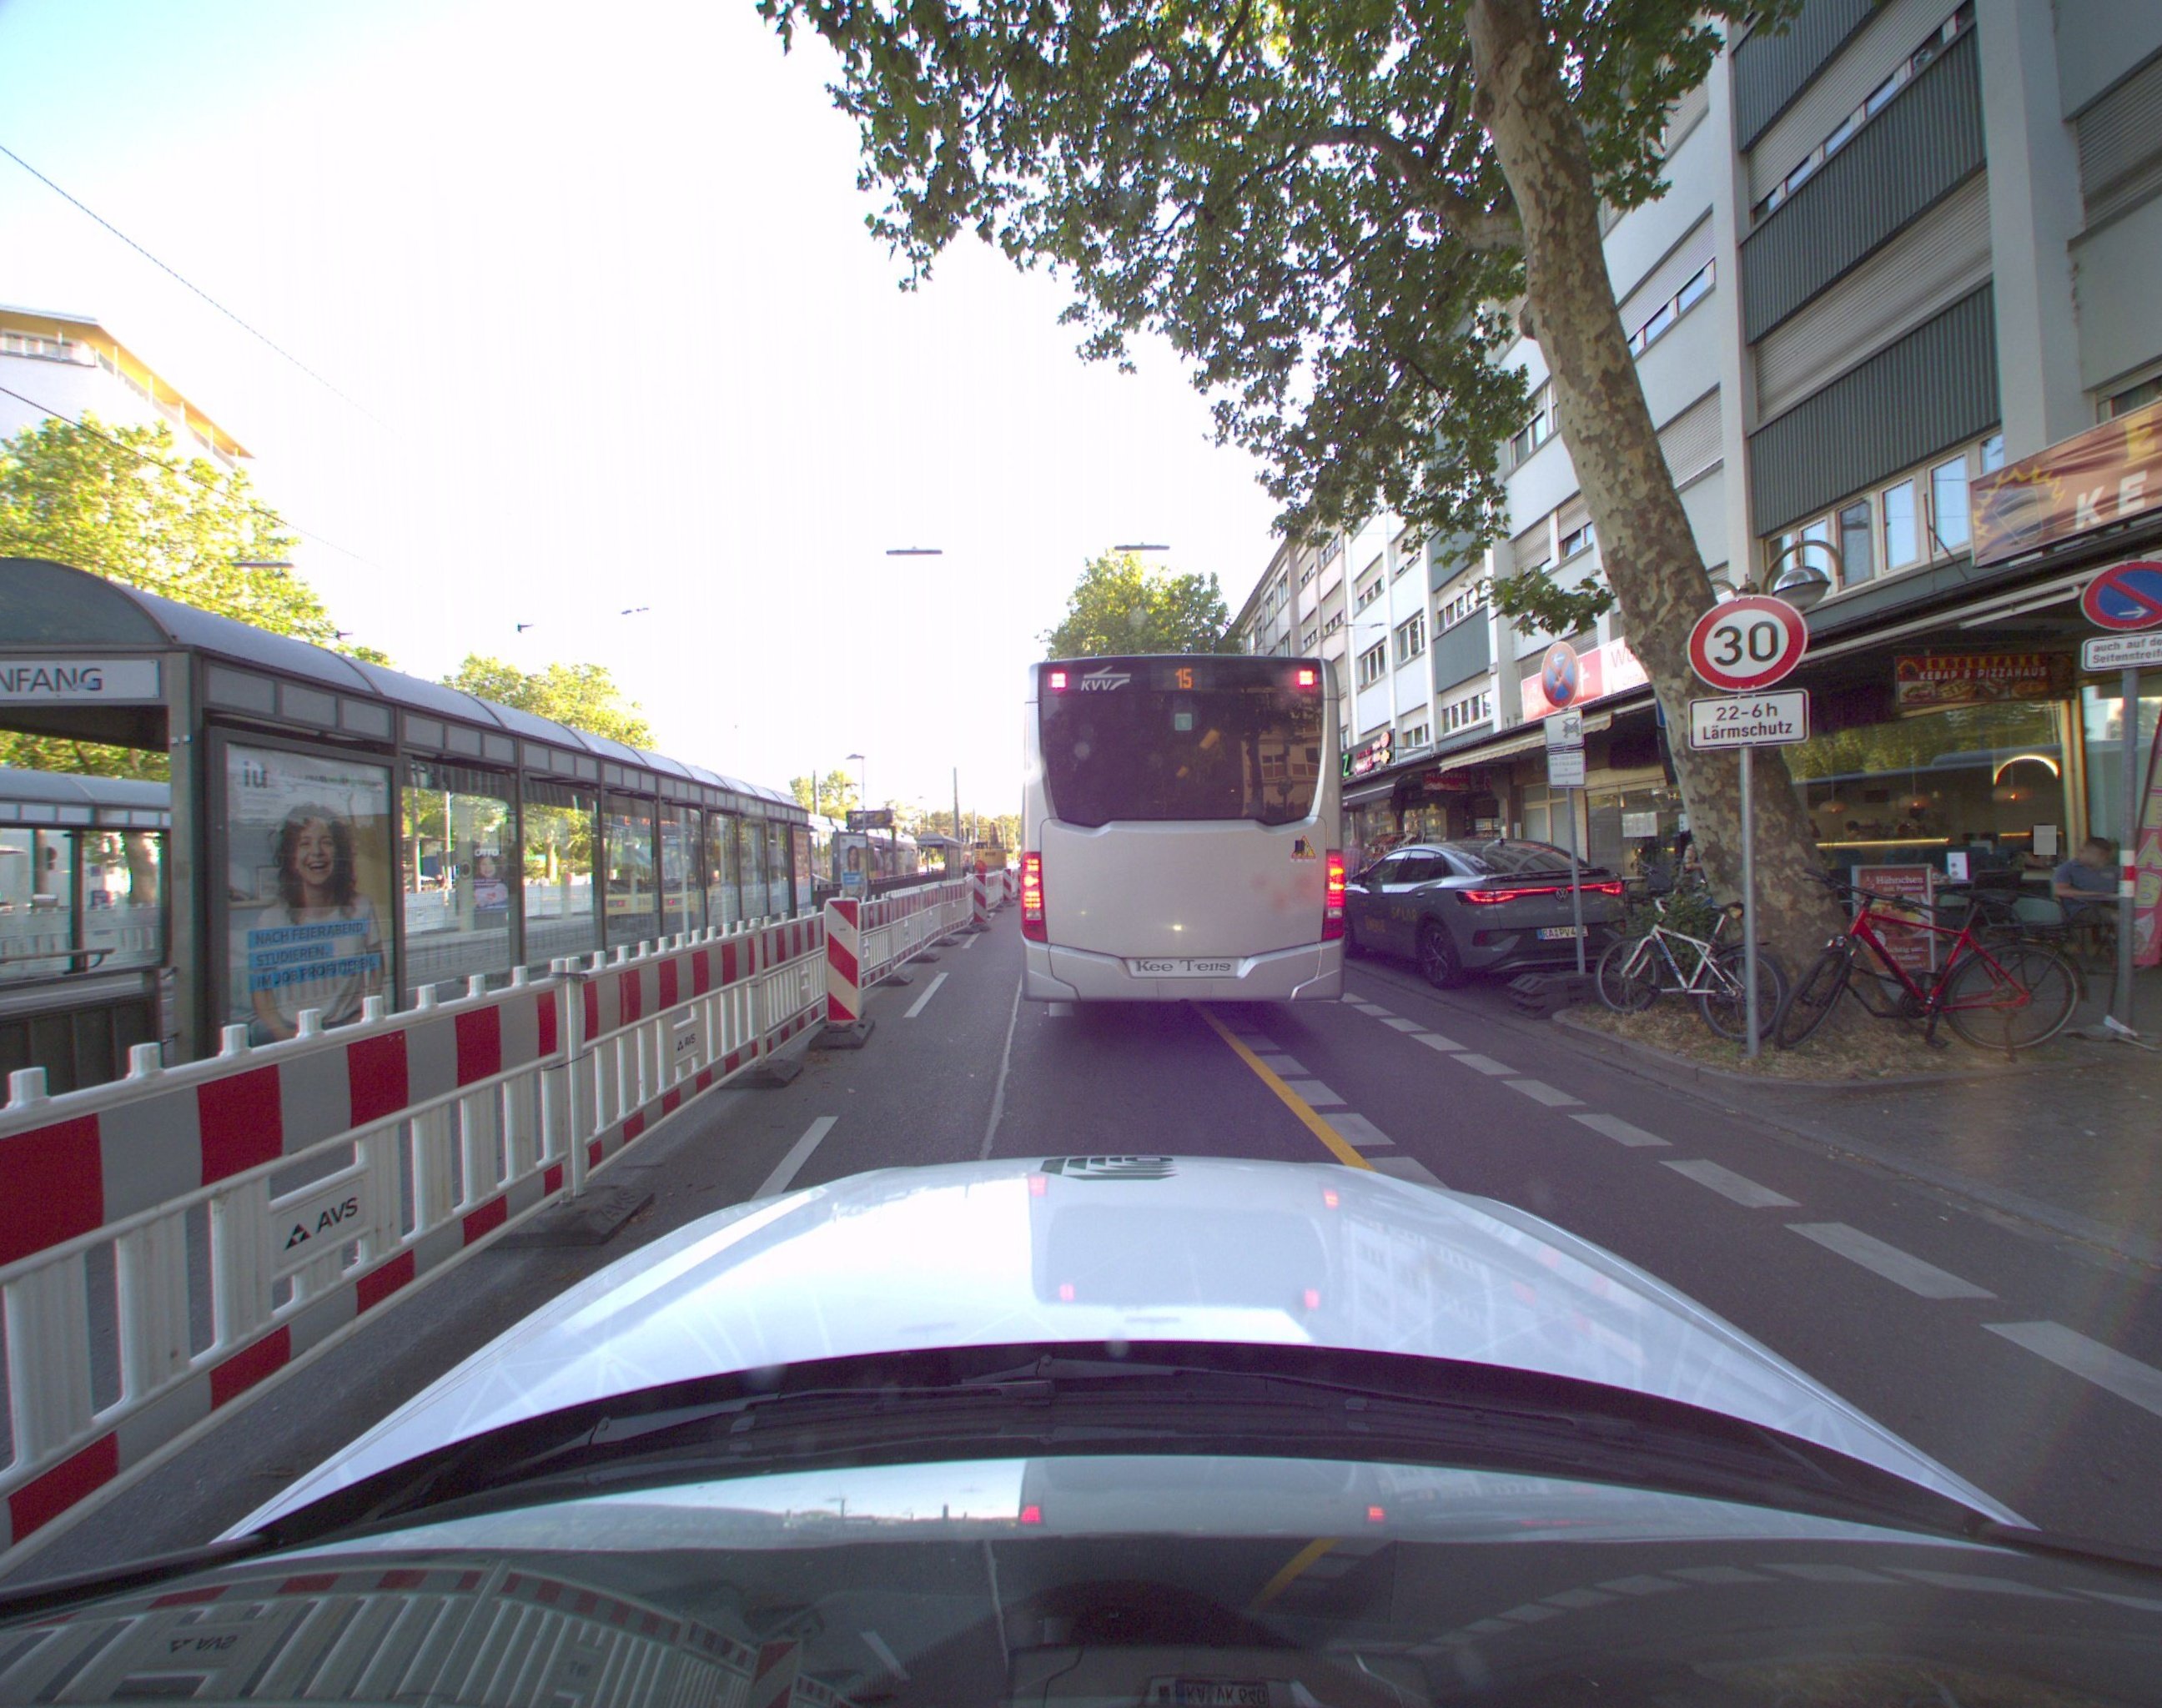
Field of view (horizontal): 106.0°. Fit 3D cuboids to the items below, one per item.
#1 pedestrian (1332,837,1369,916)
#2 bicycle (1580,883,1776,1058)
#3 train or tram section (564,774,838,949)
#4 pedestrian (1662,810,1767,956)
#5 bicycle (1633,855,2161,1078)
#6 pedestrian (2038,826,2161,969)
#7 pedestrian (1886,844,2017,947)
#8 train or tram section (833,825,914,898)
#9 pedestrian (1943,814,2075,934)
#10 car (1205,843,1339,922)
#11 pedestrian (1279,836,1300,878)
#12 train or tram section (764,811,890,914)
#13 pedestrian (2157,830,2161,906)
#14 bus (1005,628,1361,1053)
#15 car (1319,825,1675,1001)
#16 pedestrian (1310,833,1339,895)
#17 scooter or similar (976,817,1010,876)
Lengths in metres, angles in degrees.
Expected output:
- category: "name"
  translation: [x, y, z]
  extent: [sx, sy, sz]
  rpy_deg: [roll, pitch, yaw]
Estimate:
- category: "pedestrian"
  translation: [5.949, 0.493, 17.984]
  extent: [0.658, 1.666, 0.603]
  rpy_deg: [-4, -1, 18]
- category: "bicycle"
  translation: [4.574, 0.835, 6.361]
  extent: [0.550, 1.155, 1.446]
  rpy_deg: [-2, -1, 6]
- category: "train or tram section"
  translation: [-9.487, 0.192, 22.485]
  extent: [2.681, 3.534, 11.756]
  rpy_deg: [0, -1, -3]
- category: "pedestrian"
  translation: [7.482, 0.329, 9.656]
  extent: [0.580, 1.646, 0.796]
  rpy_deg: [-2, 0, 0]
- category: "bicycle"
  translation: [5.059, 0.721, 5.220]
  extent: [2.370, 1.155, 0.557]
  rpy_deg: [-7, -2, 14]
- category: "pedestrian"
  translation: [9.621, 0.382, 7.579]
  extent: [0.555, 1.245, 0.692]
  rpy_deg: [-4, 0, 8]
- category: "pedestrian"
  translation: [9.857, 0.450, 9.235]
  extent: [0.643, 1.081, 0.945]
  rpy_deg: [-2, -1, -39]
- category: "train or tram section"
  translation: [-11.338, 0.411, 45.609]
  extent: [2.683, 3.533, 11.558]
  rpy_deg: [0, -1, -6]
- category: "pedestrian"
  translation: [11.001, 0.227, 9.663]
  extent: [0.836, 1.333, 0.963]
  rpy_deg: [-2, -1, -39]
- category: "car"
  translation: [4.496, 0.615, 19.910]
  extent: [1.989, 1.582, 4.364]
  rpy_deg: [-4, 0, -3]
- category: "pedestrian"
  translation: [9.417, 0.124, 36.820]
  extent: [0.684, 1.836, 0.785]
  rpy_deg: [-2, -1, -1]
- category: "train or tram section"
  translation: [-10.207, 0.336, 34.166]
  extent: [2.682, 3.558, 11.559]
  rpy_deg: [0, -1, -5]
- category: "pedestrian"
  translation: [9.509, 0.399, 6.615]
  extent: [0.556, 1.245, 0.691]
  rpy_deg: [-4, 0, 3]
- category: "bus"
  translation: [0.871, -0.078, 9.994]
  extent: [2.601, 3.126, 7.996]
  rpy_deg: [0, 0, 2]
- category: "car"
  translation: [4.727, 0.573, 10.164]
  extent: [1.989, 1.582, 4.364]
  rpy_deg: [-4, 0, -3]
- category: "pedestrian"
  translation: [8.113, 0.318, 27.188]
  extent: [0.683, 2.014, 0.786]
  rpy_deg: [-2, -1, 1]
- category: "scooter or similar"
  translation: [-6.972, -0.561, 65.120]
  extent: [2.465, 4.471, 5.961]
  rpy_deg: [-2, 0, -5]
